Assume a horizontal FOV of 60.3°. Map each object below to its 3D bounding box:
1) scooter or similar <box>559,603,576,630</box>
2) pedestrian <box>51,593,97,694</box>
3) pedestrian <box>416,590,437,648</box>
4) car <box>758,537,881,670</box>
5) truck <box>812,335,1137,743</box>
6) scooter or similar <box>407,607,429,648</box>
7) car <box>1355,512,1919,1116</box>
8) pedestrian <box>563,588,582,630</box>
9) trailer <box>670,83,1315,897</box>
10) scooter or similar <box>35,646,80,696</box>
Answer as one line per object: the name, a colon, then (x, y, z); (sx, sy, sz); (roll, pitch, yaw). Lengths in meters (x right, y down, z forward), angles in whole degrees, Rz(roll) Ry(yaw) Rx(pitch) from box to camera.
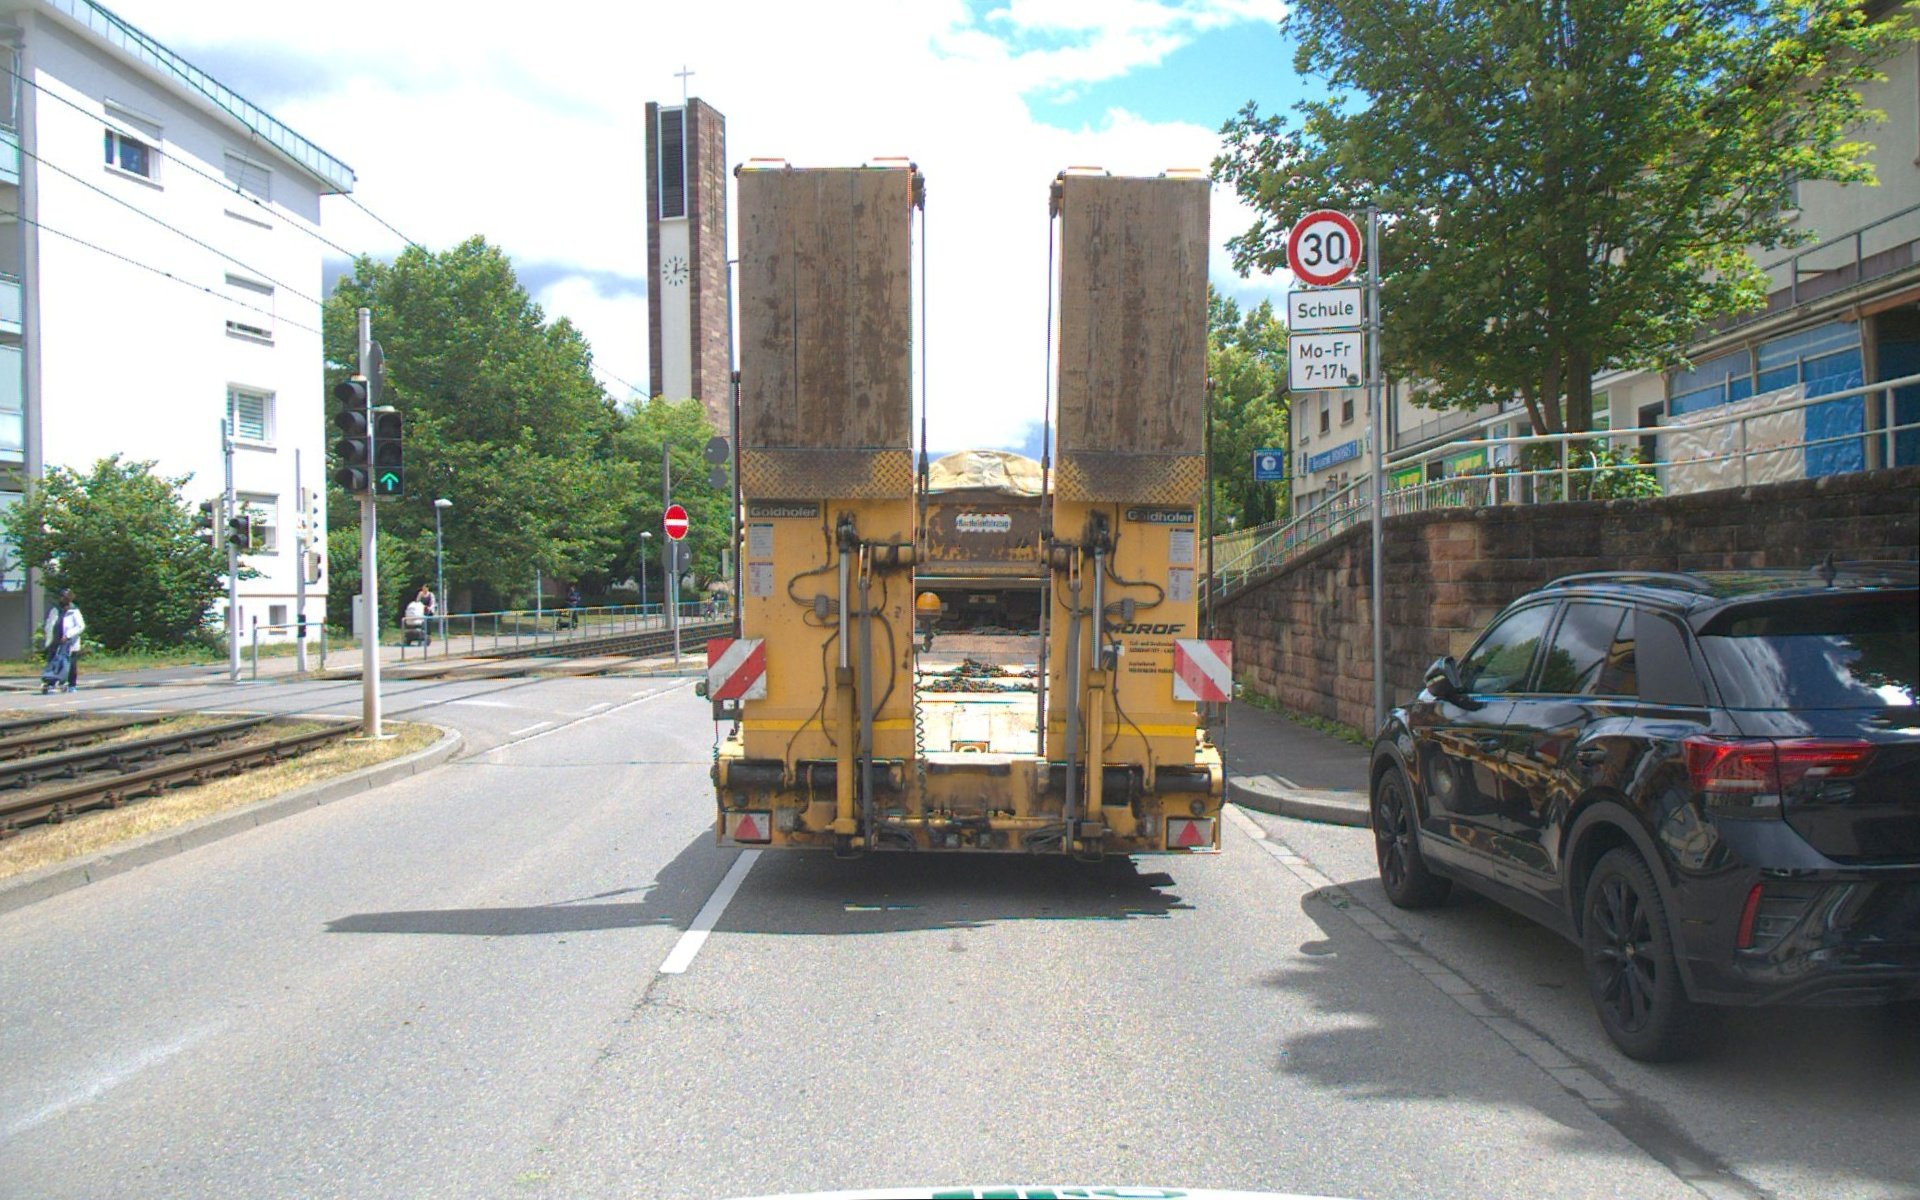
scooter or similar: (-14.536, 0.602, 61.289); (0.495, 0.988, 0.645); (1, 0, -2)
pedestrian: (-14.266, 0.694, 26.635); (0.428, 1.608, 0.475); (1, 0, 4)
pedestrian: (-14.535, 0.507, 45.061); (0.341, 1.564, 0.557); (-1, 0, 3)
car: (-2.724, 0.048, 33.233); (1.972, 2.401, 5.382); (1, 0, 0)
truck: (0.129, -0.570, 17.326); (2.882, 3.635, 4.876); (-1, 0, 0)
scooter or similar: (-14.561, 0.724, 44.425); (0.331, 1.076, 0.688); (-1, 0, 3)
car: (2.995, 0.566, 6.637); (1.813, 1.668, 4.000); (-2, 0, 0)
pedestrian: (-14.521, 0.330, 61.944); (0.552, 1.540, 0.645); (1, 0, -2)
trailer: (0.144, -0.538, 11.867); (2.885, 3.664, 8.683); (-1, 0, 0)
scooter or similar: (-14.319, 1.123, 26.236); (0.428, 0.760, 0.475); (-1, 0, 4)
